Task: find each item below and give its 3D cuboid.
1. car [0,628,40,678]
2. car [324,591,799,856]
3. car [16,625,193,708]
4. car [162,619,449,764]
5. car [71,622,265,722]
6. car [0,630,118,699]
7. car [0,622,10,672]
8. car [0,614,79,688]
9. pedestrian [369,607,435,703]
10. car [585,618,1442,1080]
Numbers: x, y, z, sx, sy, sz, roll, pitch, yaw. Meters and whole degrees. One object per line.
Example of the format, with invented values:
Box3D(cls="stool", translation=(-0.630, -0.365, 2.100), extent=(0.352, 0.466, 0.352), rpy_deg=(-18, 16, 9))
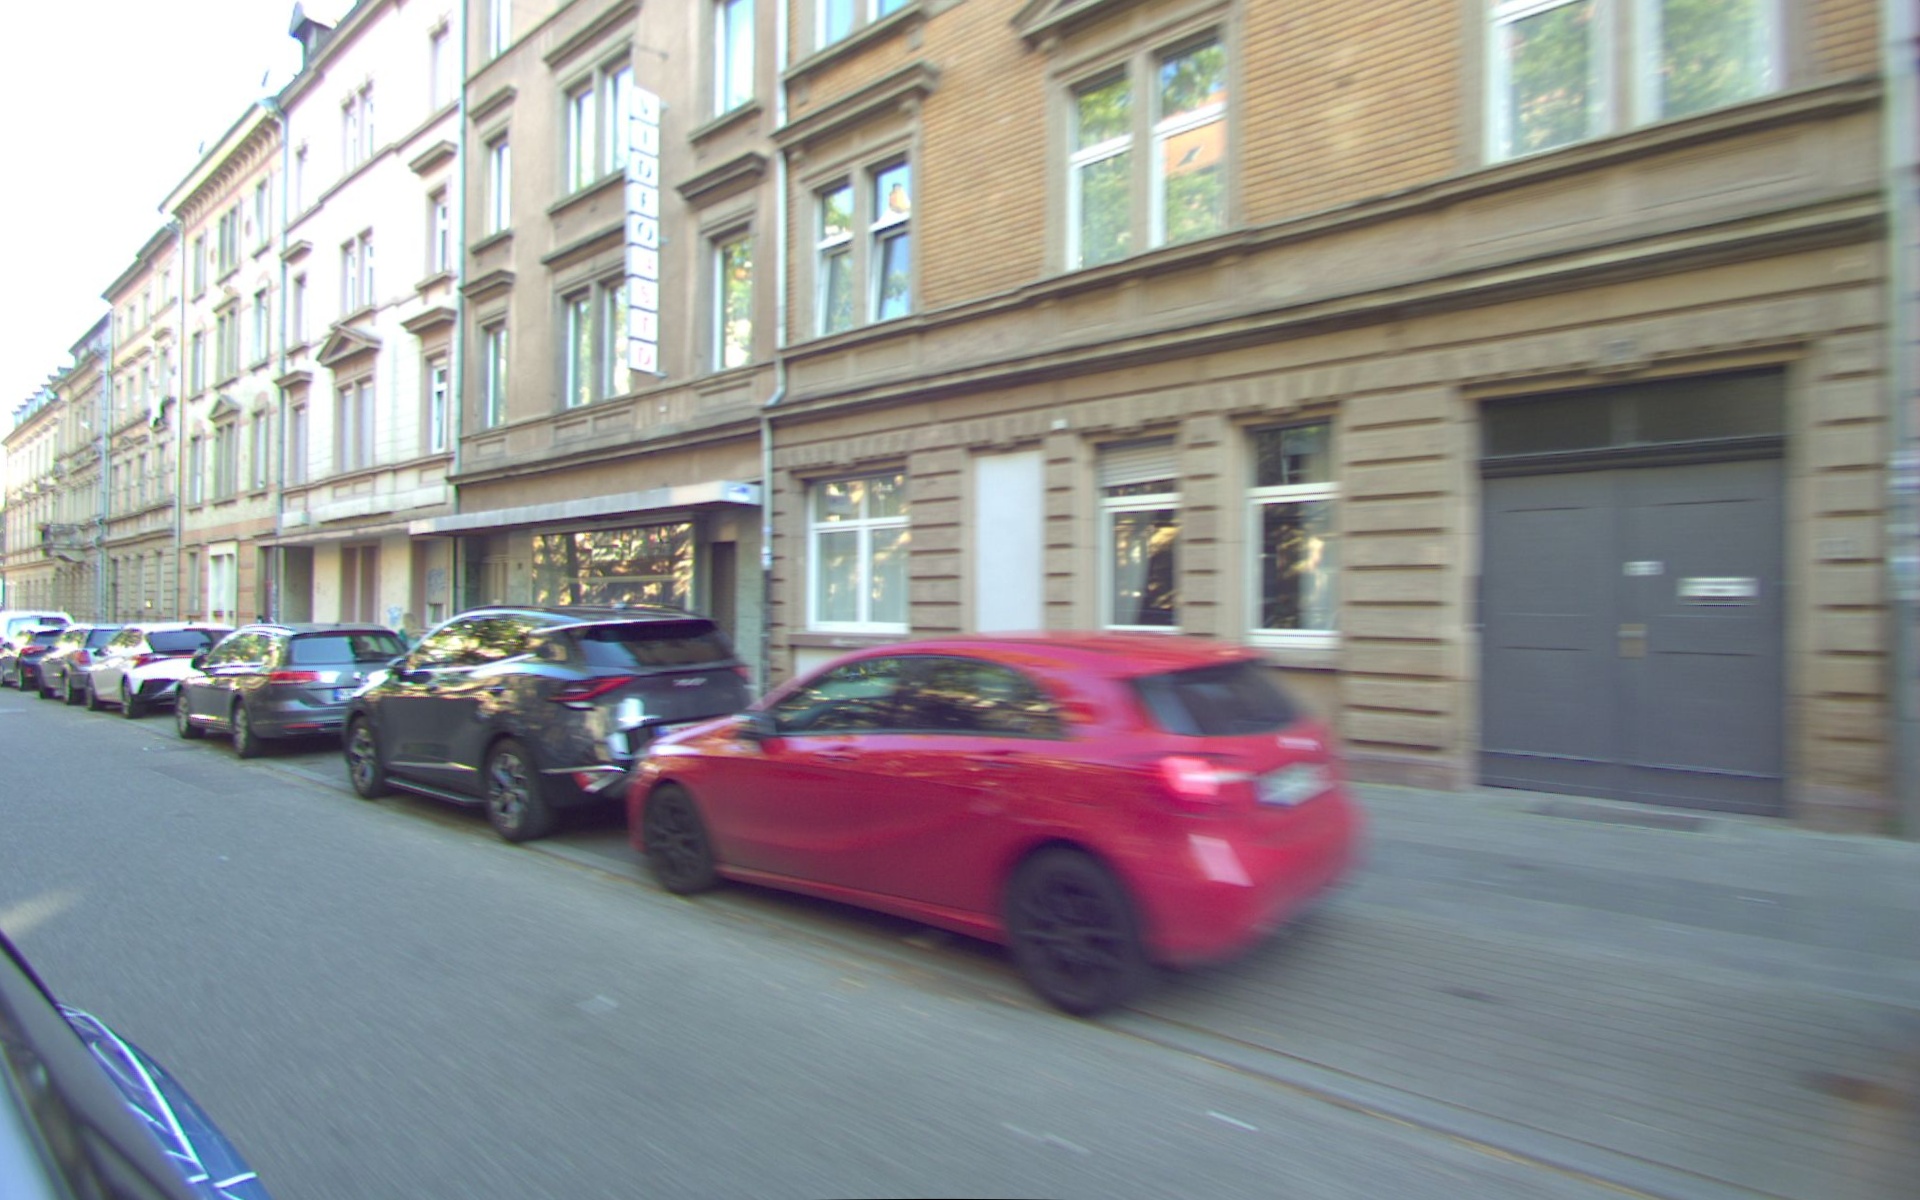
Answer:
Box3D(cls="car", translation=(-29.088, 1.571, 30.377), extent=(3.821, 1.432, 1.620), rpy_deg=(-1, -1, 39))
Box3D(cls="car", translation=(-3.436, 0.789, 8.292), extent=(4.310, 1.612, 1.802), rpy_deg=(-1, 0, 40))
Box3D(cls="car", translation=(-16.990, 1.227, 20.032), extent=(4.537, 1.455, 1.867), rpy_deg=(-1, -2, 39))
Box3D(cls="car", translation=(-8.198, 0.991, 12.513), extent=(4.487, 1.484, 1.843), rpy_deg=(-2, -2, 41))
Box3D(cls="car", translation=(-13.402, 1.125, 17.052), extent=(4.084, 1.484, 1.739), rpy_deg=(-1, -2, 40))
Box3D(cls="car", translation=(-21.443, 1.445, 23.861), extent=(4.241, 1.484, 1.729), rpy_deg=(-1, -2, 40))
Box3D(cls="car", translation=(-33.937, 1.604, 34.571), extent=(4.155, 1.670, 1.748), rpy_deg=(-1, -1, 41))
Box3D(cls="car", translation=(-25.489, 1.334, 27.351), extent=(4.602, 1.847, 1.824), rpy_deg=(-1, -1, 40))
Box3D(cls="pedestrian", translation=(-9.860, 0.954, 17.886), extent=(1.017, 1.643, 0.688), rpy_deg=(-1, -2, 39))
Box3D(cls="car", translation=(-0.022, 0.850, 5.345), extent=(4.310, 1.436, 1.802), rpy_deg=(-1, 0, 40))
